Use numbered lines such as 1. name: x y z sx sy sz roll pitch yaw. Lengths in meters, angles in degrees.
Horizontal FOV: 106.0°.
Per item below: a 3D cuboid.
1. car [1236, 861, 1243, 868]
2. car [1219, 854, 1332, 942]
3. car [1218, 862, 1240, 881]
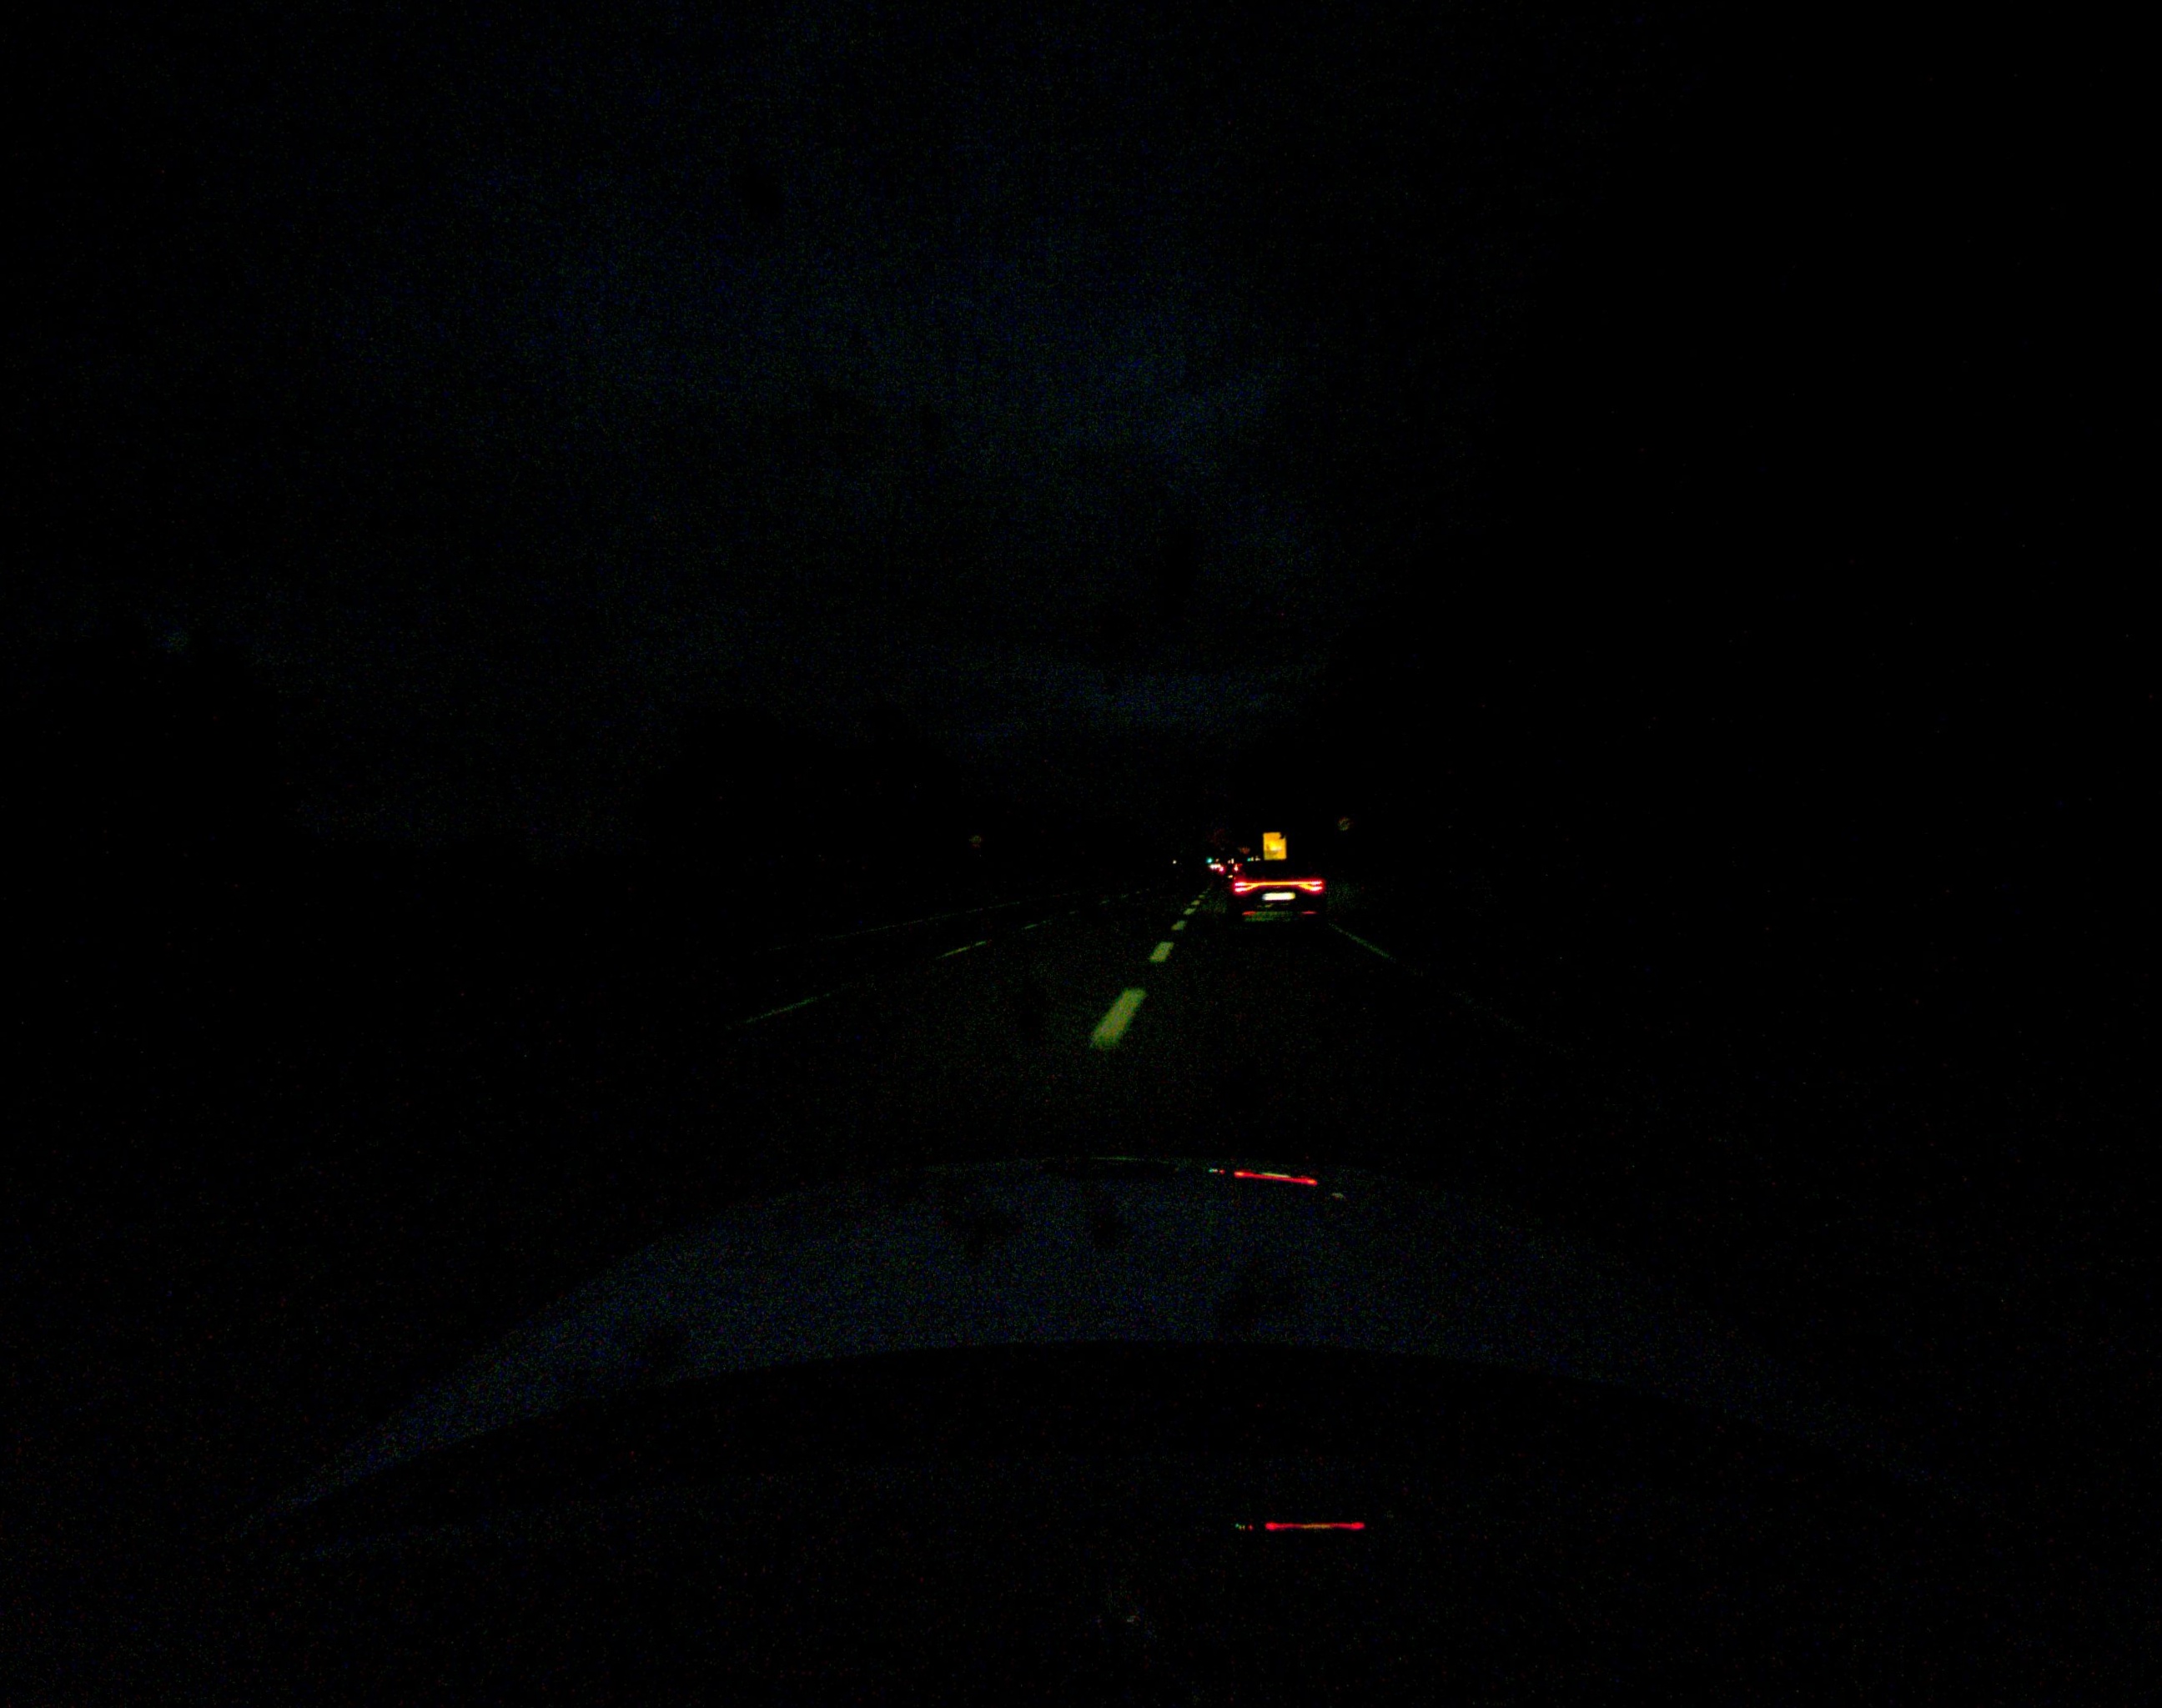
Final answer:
1. car: 48.198 3.155 247.273 1.980 1.750 4.013 -6 -3 12
2. car: 3.958 0.838 17.273 1.890 1.620 4.566 -1 -1 8
3. car: 12.320 1.428 67.702 1.742 1.453 4.446 -2 -1 11
